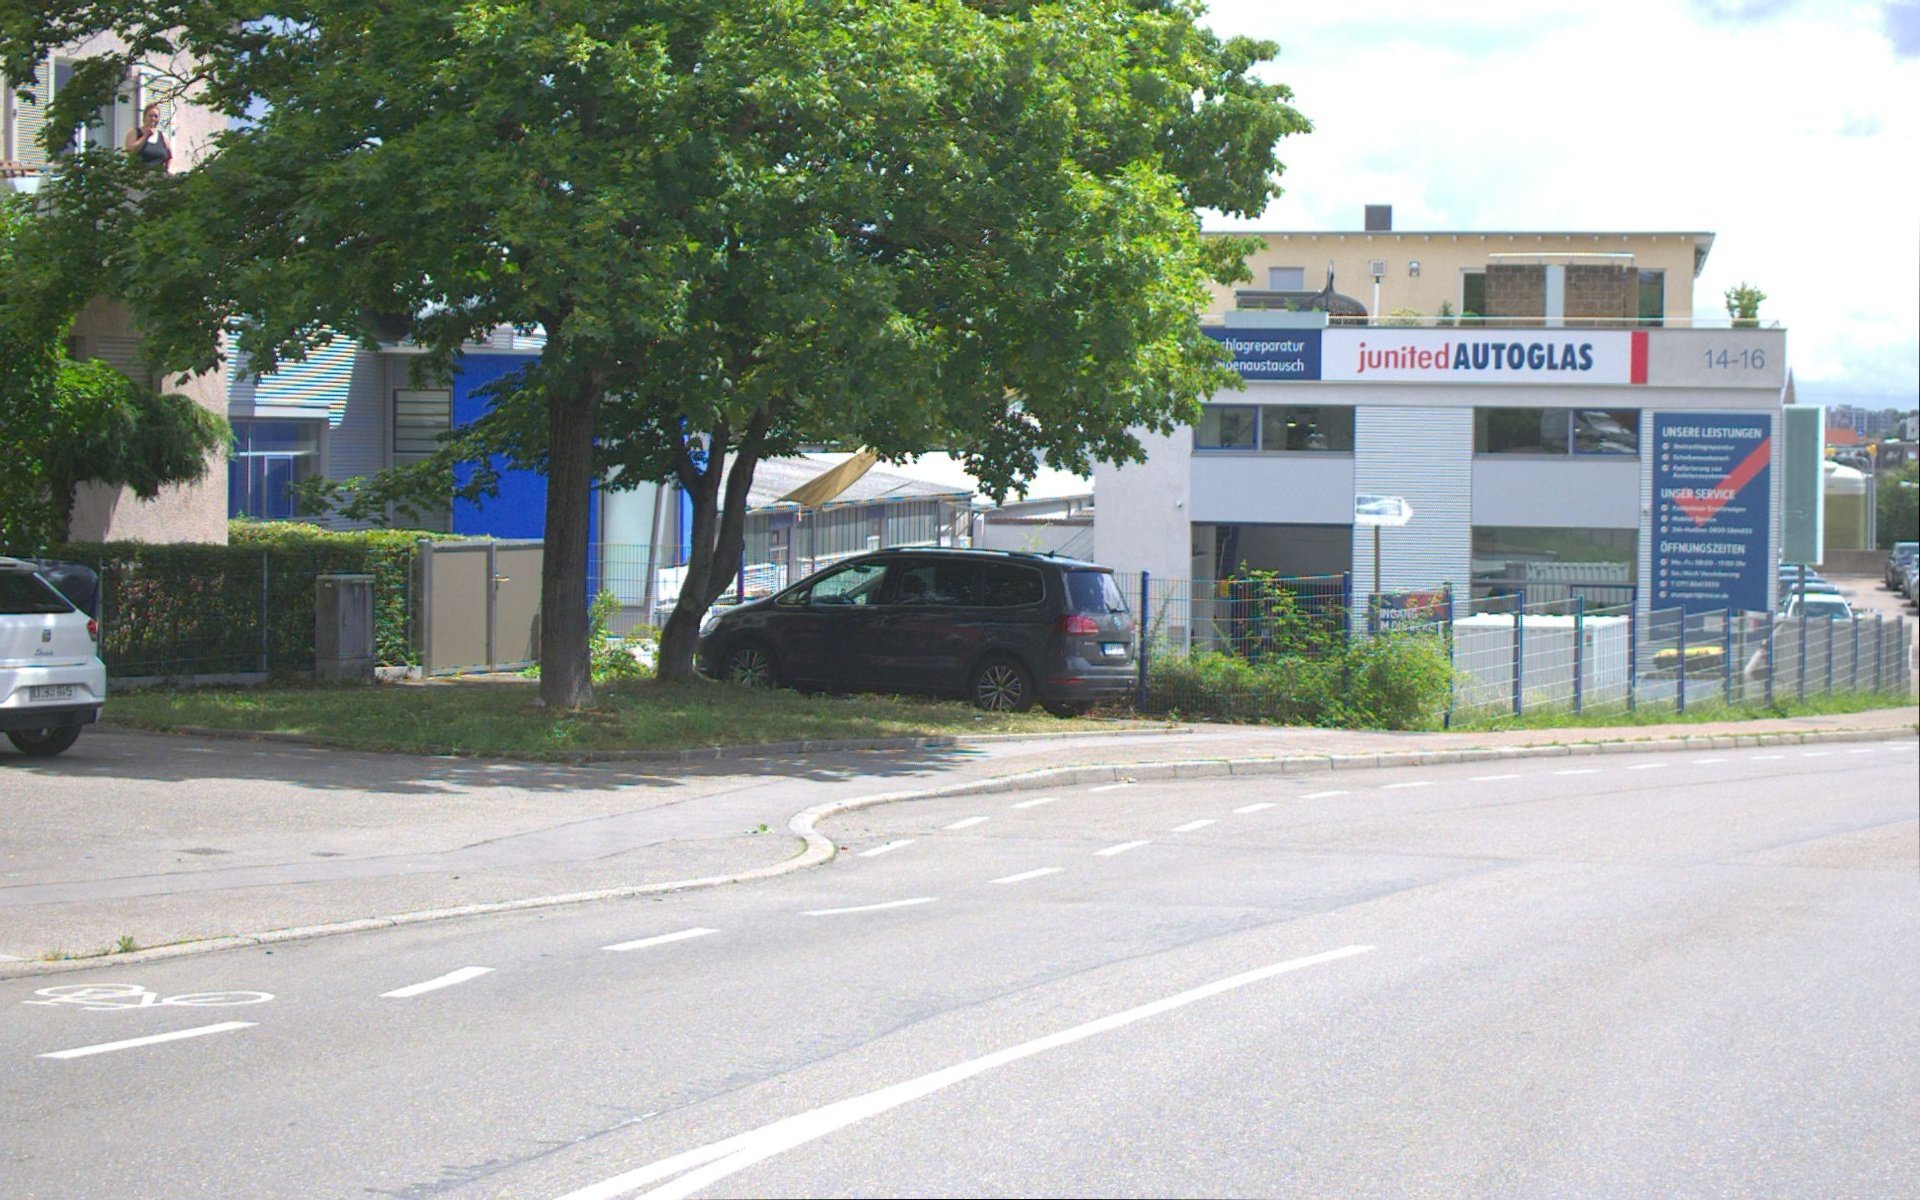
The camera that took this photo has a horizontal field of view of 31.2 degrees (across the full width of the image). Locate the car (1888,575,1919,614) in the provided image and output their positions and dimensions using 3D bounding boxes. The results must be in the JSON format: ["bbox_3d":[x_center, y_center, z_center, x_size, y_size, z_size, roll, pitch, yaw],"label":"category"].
[{"bbox_3d":[33.566,-0.197,120.877,1.671,1.319,3.716,0,-1,13],"label":"car"}]

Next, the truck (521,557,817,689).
[{"bbox_3d":[-6.067,0.491,71.926,5.785,2.697,2.176,0,-1,14],"label":"truck"}]

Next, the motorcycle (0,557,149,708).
[{"bbox_3d":[-8.483,0.278,31.254,0.918,1.311,2.233,3,1,26],"label":"motorcycle"}]

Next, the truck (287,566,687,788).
[{"bbox_3d":[-6.491,1.031,48.002,2.461,2.864,5.873,1,0,29],"label":"truck"}]

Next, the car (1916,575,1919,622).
[{"bbox_3d":[29.565,-0.015,103.204,1.671,1.319,3.715,1,-1,15],"label":"car"}]

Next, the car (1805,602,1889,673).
[{"bbox_3d":[21.193,0.896,82.243,1.848,1.645,3.997,0,-1,13],"label":"car"}]

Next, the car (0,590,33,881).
[{"bbox_3d":[-6.805,0.558,16.715,4.137,1.388,1.997,3,1,27],"label":"car"}]

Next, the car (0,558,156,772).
[{"bbox_3d":[-7.805,0.389,23.979,3.924,1.399,1.874,1,0,24],"label":"car"}]

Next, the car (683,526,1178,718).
[{"bbox_3d":[-0.319,0.227,36.017,4.706,1.710,1.997,3,-1,27],"label":"car"}]
